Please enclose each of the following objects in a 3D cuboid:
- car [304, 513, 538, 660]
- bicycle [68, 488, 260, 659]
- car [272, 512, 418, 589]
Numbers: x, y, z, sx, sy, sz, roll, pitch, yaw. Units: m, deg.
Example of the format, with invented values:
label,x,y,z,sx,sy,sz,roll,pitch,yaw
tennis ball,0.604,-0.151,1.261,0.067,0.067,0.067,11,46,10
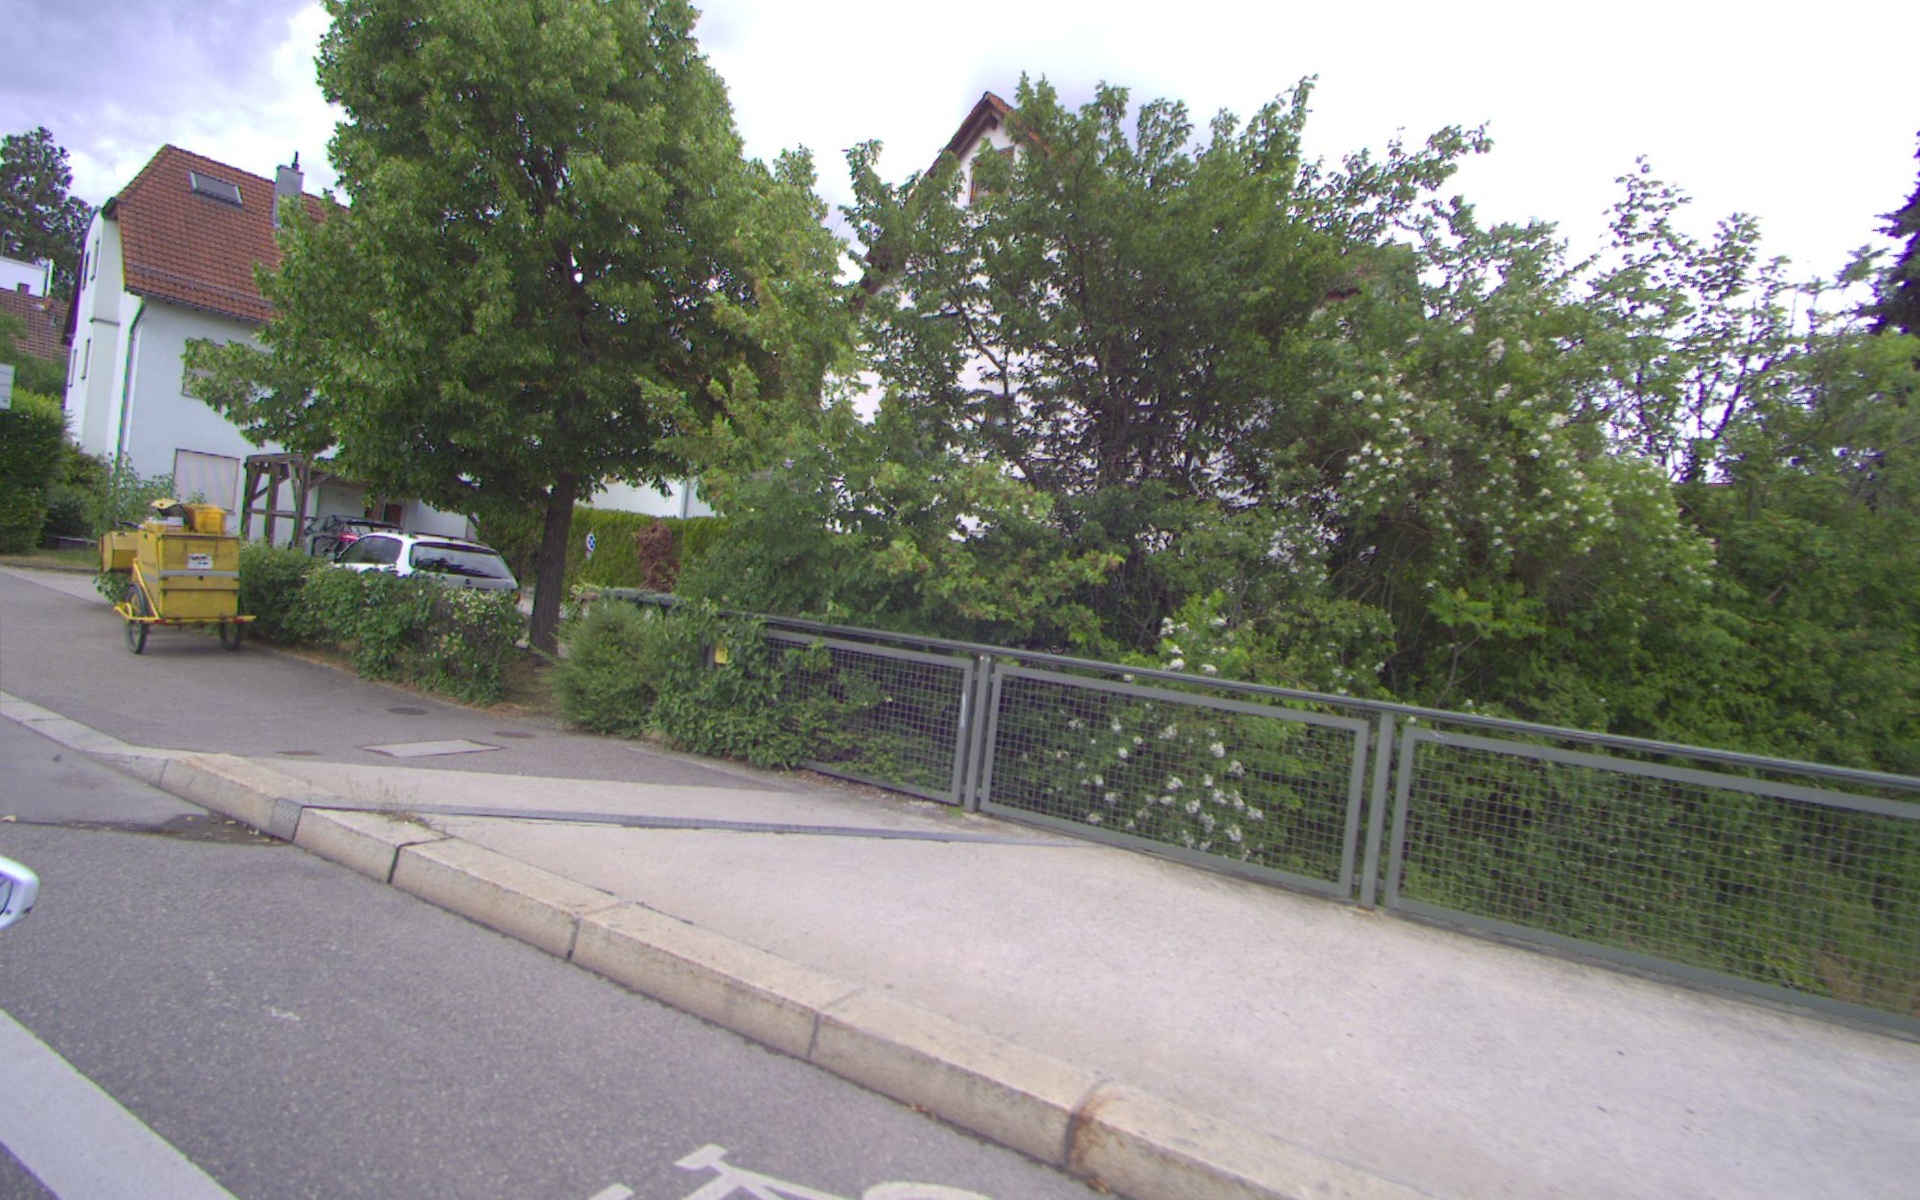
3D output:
label,x,y,z,sx,sy,sz,roll,pitch,yaw
car,-7.685,-0.245,14.160,4.005,1.523,1.667,9,1,44
bicycle,-8.482,-0.330,10.659,2.740,1.532,0.890,7,5,36
car,-14.870,-1.211,24.248,3.941,1.468,1.666,6,1,38
